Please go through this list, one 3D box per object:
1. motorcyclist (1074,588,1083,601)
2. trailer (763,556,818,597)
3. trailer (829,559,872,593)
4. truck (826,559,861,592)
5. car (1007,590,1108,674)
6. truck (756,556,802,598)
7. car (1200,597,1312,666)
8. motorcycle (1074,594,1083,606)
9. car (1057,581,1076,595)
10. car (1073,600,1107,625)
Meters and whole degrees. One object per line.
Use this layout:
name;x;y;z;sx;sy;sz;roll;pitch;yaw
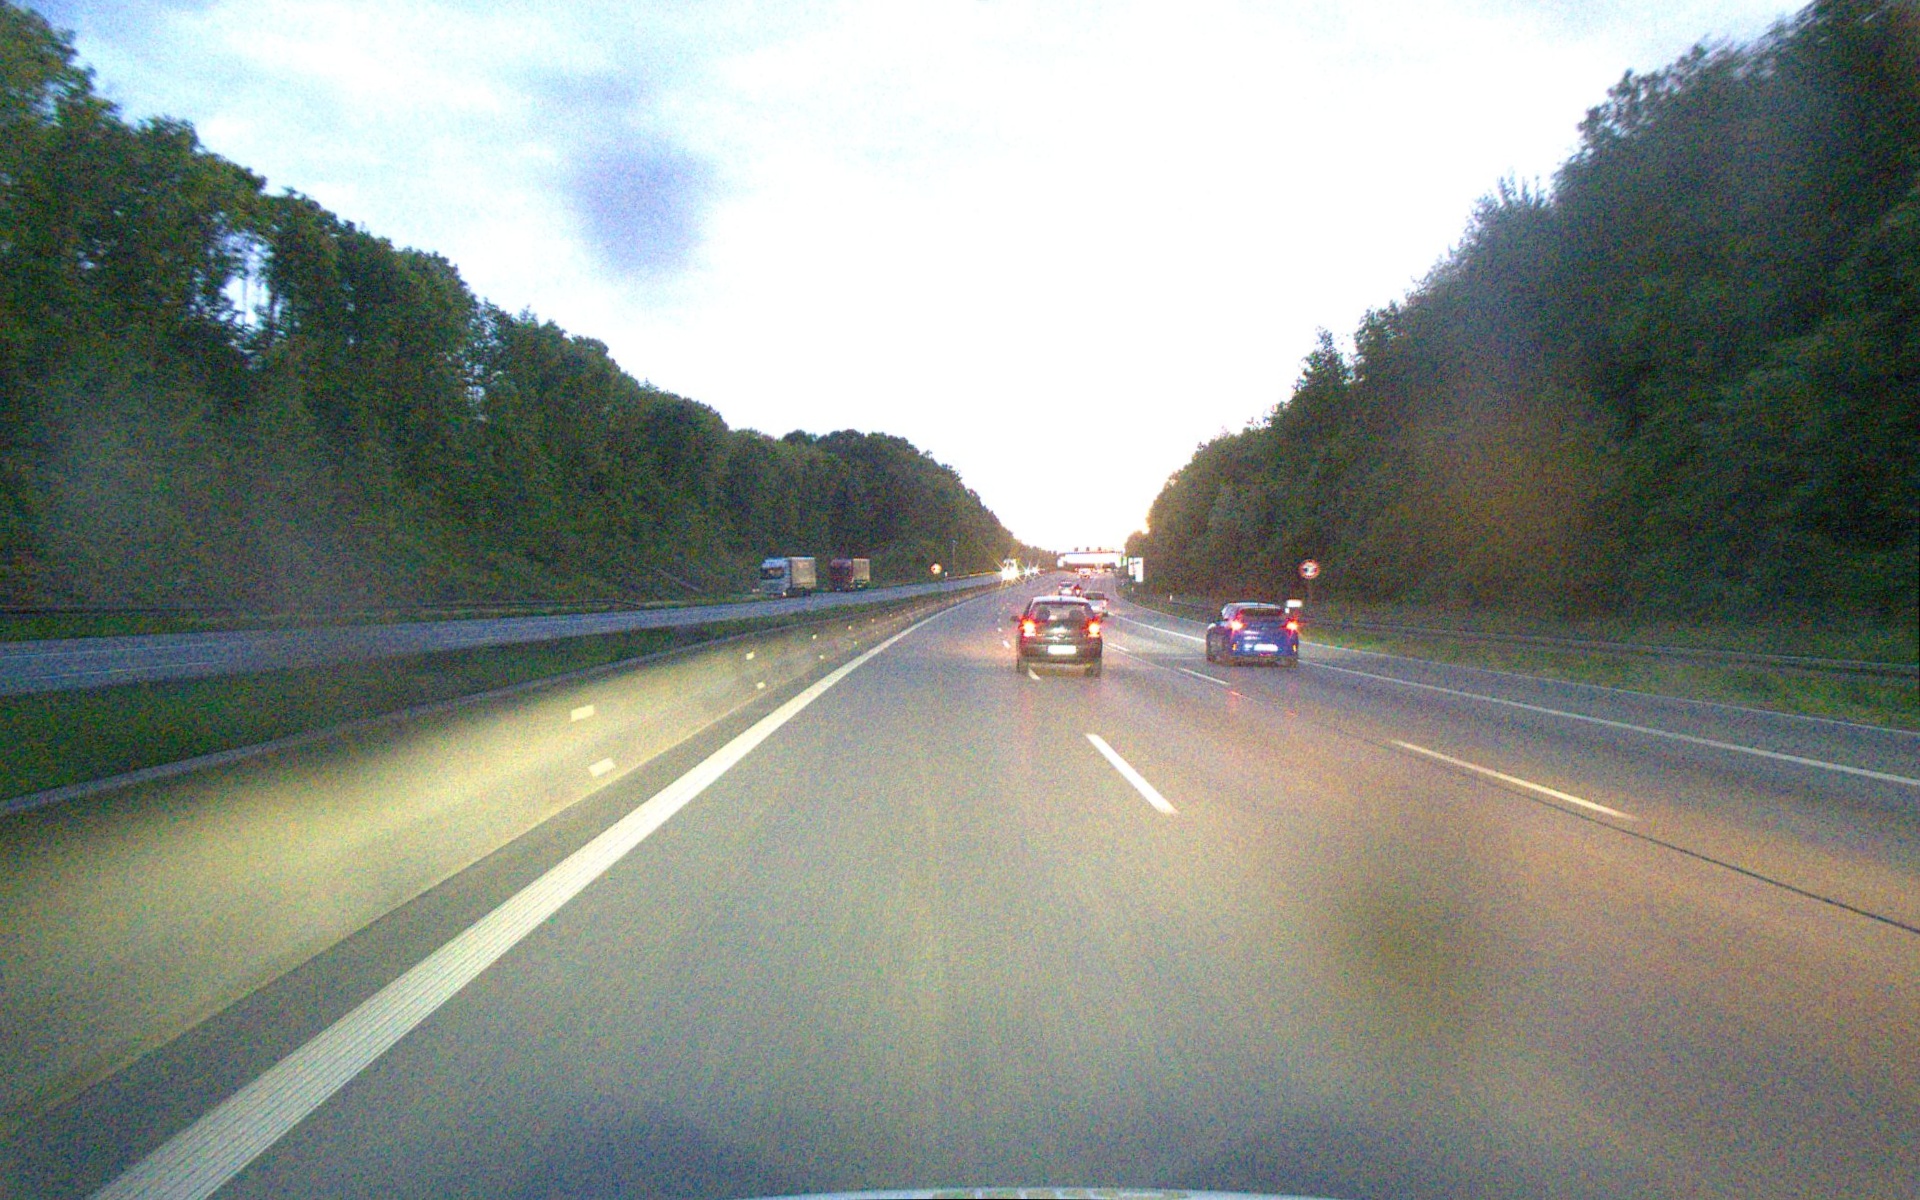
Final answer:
motorcyclist;11.724;-0.565;163.290;0.812;1.314;1.191;-1;0;5
trailer;-17.992;-2.455;176.880;3.123;4.176;13.750;0;1;6
trailer;-14.278;-3.126;216.866;3.123;4.176;14.194;0;1;6
truck;-14.854;-3.127;211.290;3.123;4.176;7.695;0;1;6
car;1.875;0.594;32.846;1.669;1.535;4.231;1;0;-1
truck;-18.614;-2.341;170.530;3.123;4.176;7.695;0;1;6
car;6.929;0.703;39.142;1.827;1.461;4.584;1;1;0
motorcycle;11.732;-0.045;163.360;0.812;1.154;2.477;-1;0;5
car;11.787;-1.320;183.521;1.827;1.520;4.399;1;0;1
car;7.909;0.744;100.943;1.788;1.501;4.399;1;0;1
